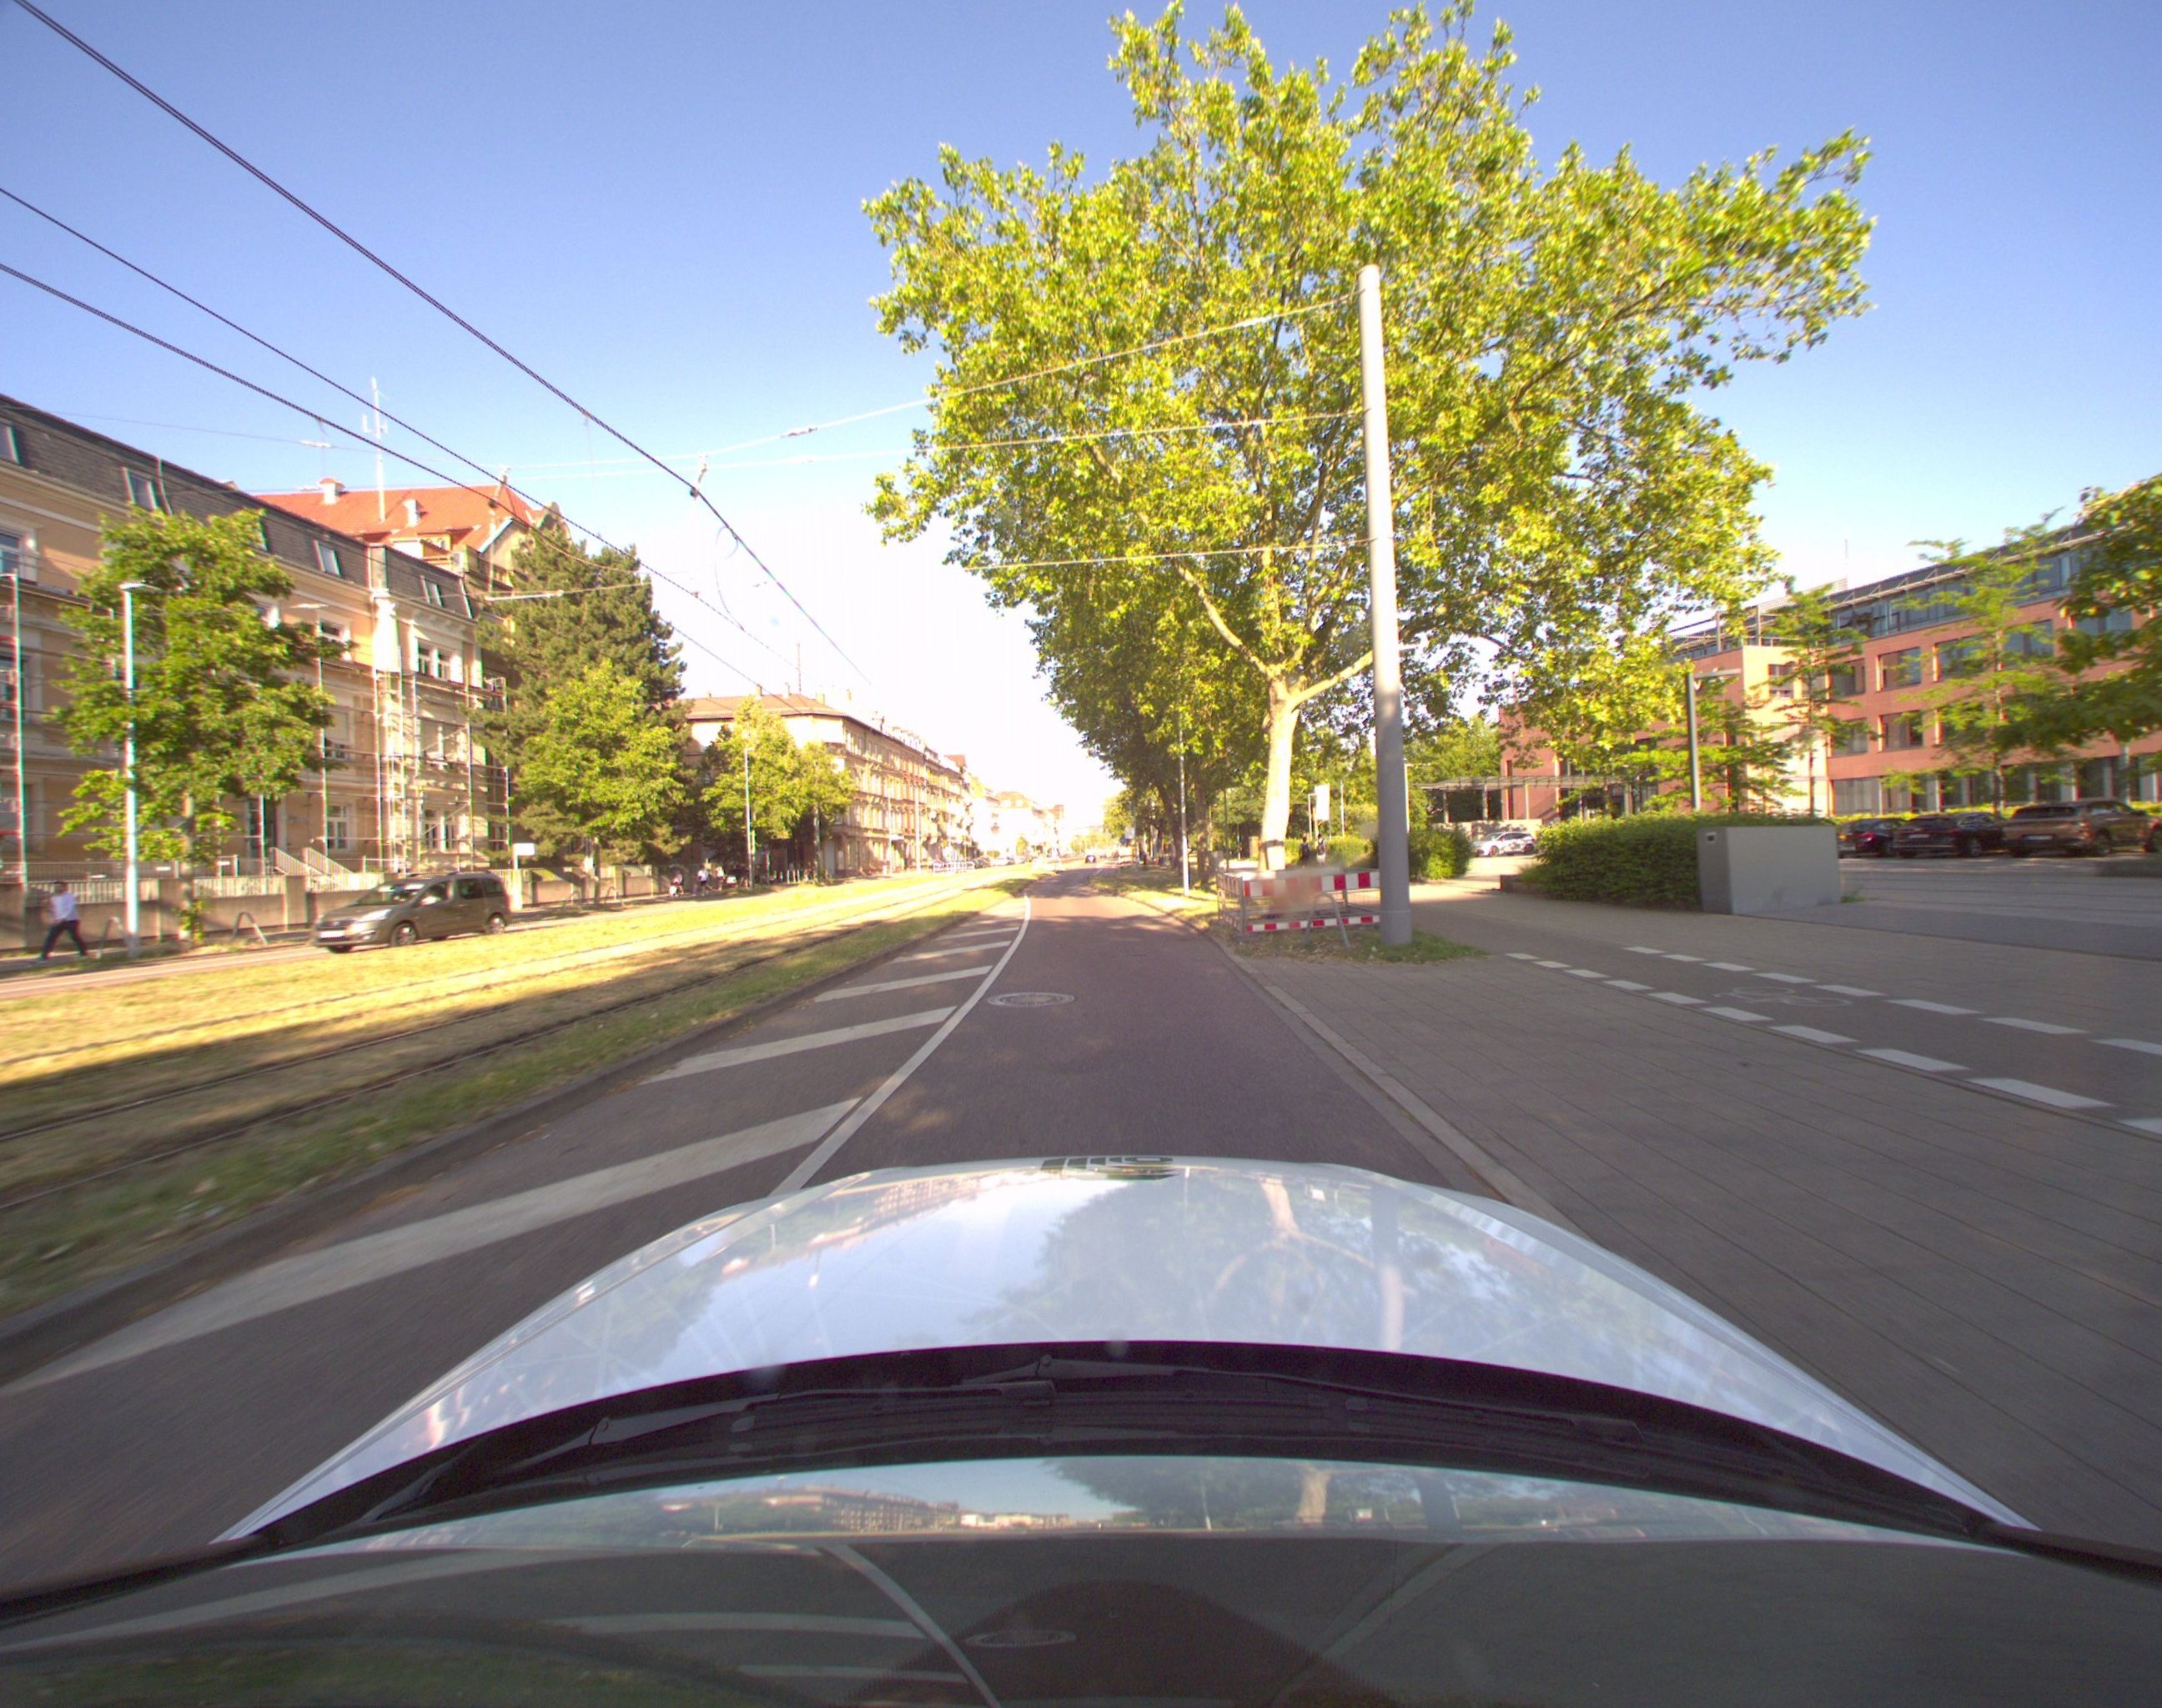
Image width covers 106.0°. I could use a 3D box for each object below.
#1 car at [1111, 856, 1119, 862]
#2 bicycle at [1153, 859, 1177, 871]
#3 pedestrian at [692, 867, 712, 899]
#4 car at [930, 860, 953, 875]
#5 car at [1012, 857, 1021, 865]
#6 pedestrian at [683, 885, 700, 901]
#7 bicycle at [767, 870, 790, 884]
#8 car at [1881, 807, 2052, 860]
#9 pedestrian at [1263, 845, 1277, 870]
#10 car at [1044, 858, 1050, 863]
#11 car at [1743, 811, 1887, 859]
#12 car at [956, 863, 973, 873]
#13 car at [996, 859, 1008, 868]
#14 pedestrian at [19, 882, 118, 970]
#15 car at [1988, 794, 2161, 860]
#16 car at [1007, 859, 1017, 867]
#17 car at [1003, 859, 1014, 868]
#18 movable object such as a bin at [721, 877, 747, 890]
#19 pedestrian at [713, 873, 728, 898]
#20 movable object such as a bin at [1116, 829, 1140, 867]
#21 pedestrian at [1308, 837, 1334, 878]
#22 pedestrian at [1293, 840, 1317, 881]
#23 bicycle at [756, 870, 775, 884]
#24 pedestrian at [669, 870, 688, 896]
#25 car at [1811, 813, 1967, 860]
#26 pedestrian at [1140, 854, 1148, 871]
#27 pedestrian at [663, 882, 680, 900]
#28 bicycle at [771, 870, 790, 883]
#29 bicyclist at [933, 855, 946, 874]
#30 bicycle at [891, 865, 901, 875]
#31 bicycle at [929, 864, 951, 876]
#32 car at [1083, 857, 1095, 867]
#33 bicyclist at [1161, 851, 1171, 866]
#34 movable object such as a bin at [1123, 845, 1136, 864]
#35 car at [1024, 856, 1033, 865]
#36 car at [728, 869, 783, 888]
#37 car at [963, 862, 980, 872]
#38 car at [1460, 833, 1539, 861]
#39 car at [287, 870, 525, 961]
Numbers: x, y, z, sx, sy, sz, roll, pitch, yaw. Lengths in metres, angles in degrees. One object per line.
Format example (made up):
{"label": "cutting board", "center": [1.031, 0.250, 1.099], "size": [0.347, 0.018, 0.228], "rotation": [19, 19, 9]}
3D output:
{"label": "car", "center": [10.470, 1.542, 252.012], "size": [1.989, 1.860, 3.995], "rotation": [0, 0, -3]}
{"label": "bicycle", "center": [8.228, 1.058, 79.768], "size": [2.249, 1.040, 0.768], "rotation": [-2, 0, 5]}
{"label": "pedestrian", "center": [-22.082, 1.688, 47.508], "size": [0.647, 1.775, 0.888], "rotation": [-3, -1, 1]}
{"label": "car", "center": [-18.035, 1.737, 105.402], "size": [2.007, 1.754, 4.561], "rotation": [0, 1, 2]}
{"label": "car", "center": [-13.955, 1.556, 176.439], "size": [1.521, 1.560, 3.225], "rotation": [0, 1, 2]}
{"label": "pedestrian", "center": [-22.848, 2.290, 47.806], "size": [0.646, 0.932, 0.586], "rotation": [-3, -1, 8]}
{"label": "bicycle", "center": [-27.295, 2.097, 73.514], "size": [0.779, 1.179, 2.249], "rotation": [0, 0, 14]}
{"label": "car", "center": [29.373, -0.680, 27.041], "size": [4.681, 1.466, 1.952], "rotation": [-3, 1, -16]}
{"label": "pedestrian", "center": [12.036, 0.231, 51.896], "size": [0.647, 1.539, 0.784], "rotation": [-3, -1, 3]}
{"label": "car", "center": [-10.210, 2.000, 244.185], "size": [1.521, 1.560, 3.225], "rotation": [0, 1, 2]}
{"label": "car", "center": [28.987, -0.733, 32.179], "size": [4.681, 1.598, 2.061], "rotation": [-3, 1, -16]}
{"label": "car", "center": [-17.080, 2.018, 120.010], "size": [1.769, 1.406, 3.912], "rotation": [0, 1, 2]}
{"label": "car", "center": [-15.161, 1.766, 155.667], "size": [1.734, 1.560, 3.770], "rotation": [0, 1, 2]}
{"label": "pedestrian", "center": [-23.736, 1.665, 19.115], "size": [0.855, 1.928, 1.087], "rotation": [-3, -1, 1]}
{"label": "car", "center": [30.463, -0.821, 24.736], "size": [4.681, 1.713, 2.061], "rotation": [-3, 1, -16]}
{"label": "car", "center": [-14.012, 1.843, 165.940], "size": [1.521, 1.560, 3.225], "rotation": [0, 1, 2]}
{"label": "car", "center": [-14.307, 1.865, 160.399], "size": [1.734, 1.560, 3.770], "rotation": [0, 1, 2]}
{"label": "movable object such as a bin", "center": [-23.764, 2.035, 55.838], "size": [1.240, 0.865, 1.237], "rotation": [0, -1, 1]}
{"label": "pedestrian", "center": [-24.288, 2.119, 54.886], "size": [0.616, 1.593, 0.798], "rotation": [0, 0, 1]}
{"label": "movable object such as a bin", "center": [6.793, -0.832, 118.779], "size": [3.075, 5.088, 8.897], "rotation": [-5, 0, 2]}
{"label": "pedestrian", "center": [10.795, 0.149, 36.600], "size": [0.802, 1.793, 1.111], "rotation": [-3, -1, 3]}
{"label": "pedestrian", "center": [10.048, 0.297, 36.539], "size": [0.747, 1.793, 1.087], "rotation": [-3, -1, 3]}
{"label": "bicycle", "center": [-28.518, 2.059, 73.706], "size": [0.782, 1.179, 2.241], "rotation": [0, 0, 1]}
{"label": "pedestrian", "center": [-24.080, 1.730, 48.690], "size": [0.647, 1.539, 0.783], "rotation": [-3, -1, 1]}
{"label": "car", "center": [29.075, -0.628, 29.316], "size": [4.681, 1.383, 1.963], "rotation": [-3, 1, -16]}
{"label": "pedestrian", "center": [6.263, 0.826, 81.365], "size": [0.658, 1.647, 0.863], "rotation": [-4, -1, 3]}
{"label": "pedestrian", "center": [-23.241, 2.106, 46.207], "size": [0.648, 0.932, 0.585], "rotation": [-3, -1, -1]}
{"label": "bicycle", "center": [-27.696, 2.062, 75.155], "size": [0.781, 1.179, 2.243], "rotation": [0, 0, 4]}
{"label": "bicyclist", "center": [-13.362, 0.996, 76.852], "size": [0.927, 1.715, 0.757], "rotation": [-4, 2, -42]}
{"label": "bicycle", "center": [-22.005, 1.906, 97.022], "size": [0.696, 1.180, 1.752], "rotation": [0, 0, 3]}
{"label": "bicycle", "center": [-13.317, 1.510, 76.915], "size": [1.970, 1.040, 0.757], "rotation": [-4, 2, -42]}
{"label": "car", "center": [1.407, 1.321, 139.186], "size": [1.985, 1.684, 4.003], "rotation": [0, 0, 3]}
{"label": "bicyclist", "center": [8.327, 0.436, 79.750], "size": [0.899, 1.496, 0.768], "rotation": [-2, 0, 5]}
{"label": "movable object such as a bin", "center": [8.303, 0.056, 140.761], "size": [1.960, 3.013, 4.799], "rotation": [-5, 0, 2]}
{"label": "car", "center": [-12.945, 1.620, 200.675], "size": [1.651, 2.139, 3.528], "rotation": [0, 1, 2]}
{"label": "car", "center": [-26.173, 1.973, 65.422], "size": [4.138, 1.471, 2.013], "rotation": [-1, -1, 31]}
{"label": "car", "center": [-16.720, 1.990, 124.522], "size": [1.769, 1.406, 3.912], "rotation": [0, 1, 2]}
{"label": "car", "center": [26.236, -0.456, 51.064], "size": [4.172, 1.506, 1.988], "rotation": [-3, 1, -18]}
{"label": "car", "center": [-16.748, 1.432, 20.581], "size": [1.929, 1.918, 4.481], "rotation": [-2, 0, 6]}
